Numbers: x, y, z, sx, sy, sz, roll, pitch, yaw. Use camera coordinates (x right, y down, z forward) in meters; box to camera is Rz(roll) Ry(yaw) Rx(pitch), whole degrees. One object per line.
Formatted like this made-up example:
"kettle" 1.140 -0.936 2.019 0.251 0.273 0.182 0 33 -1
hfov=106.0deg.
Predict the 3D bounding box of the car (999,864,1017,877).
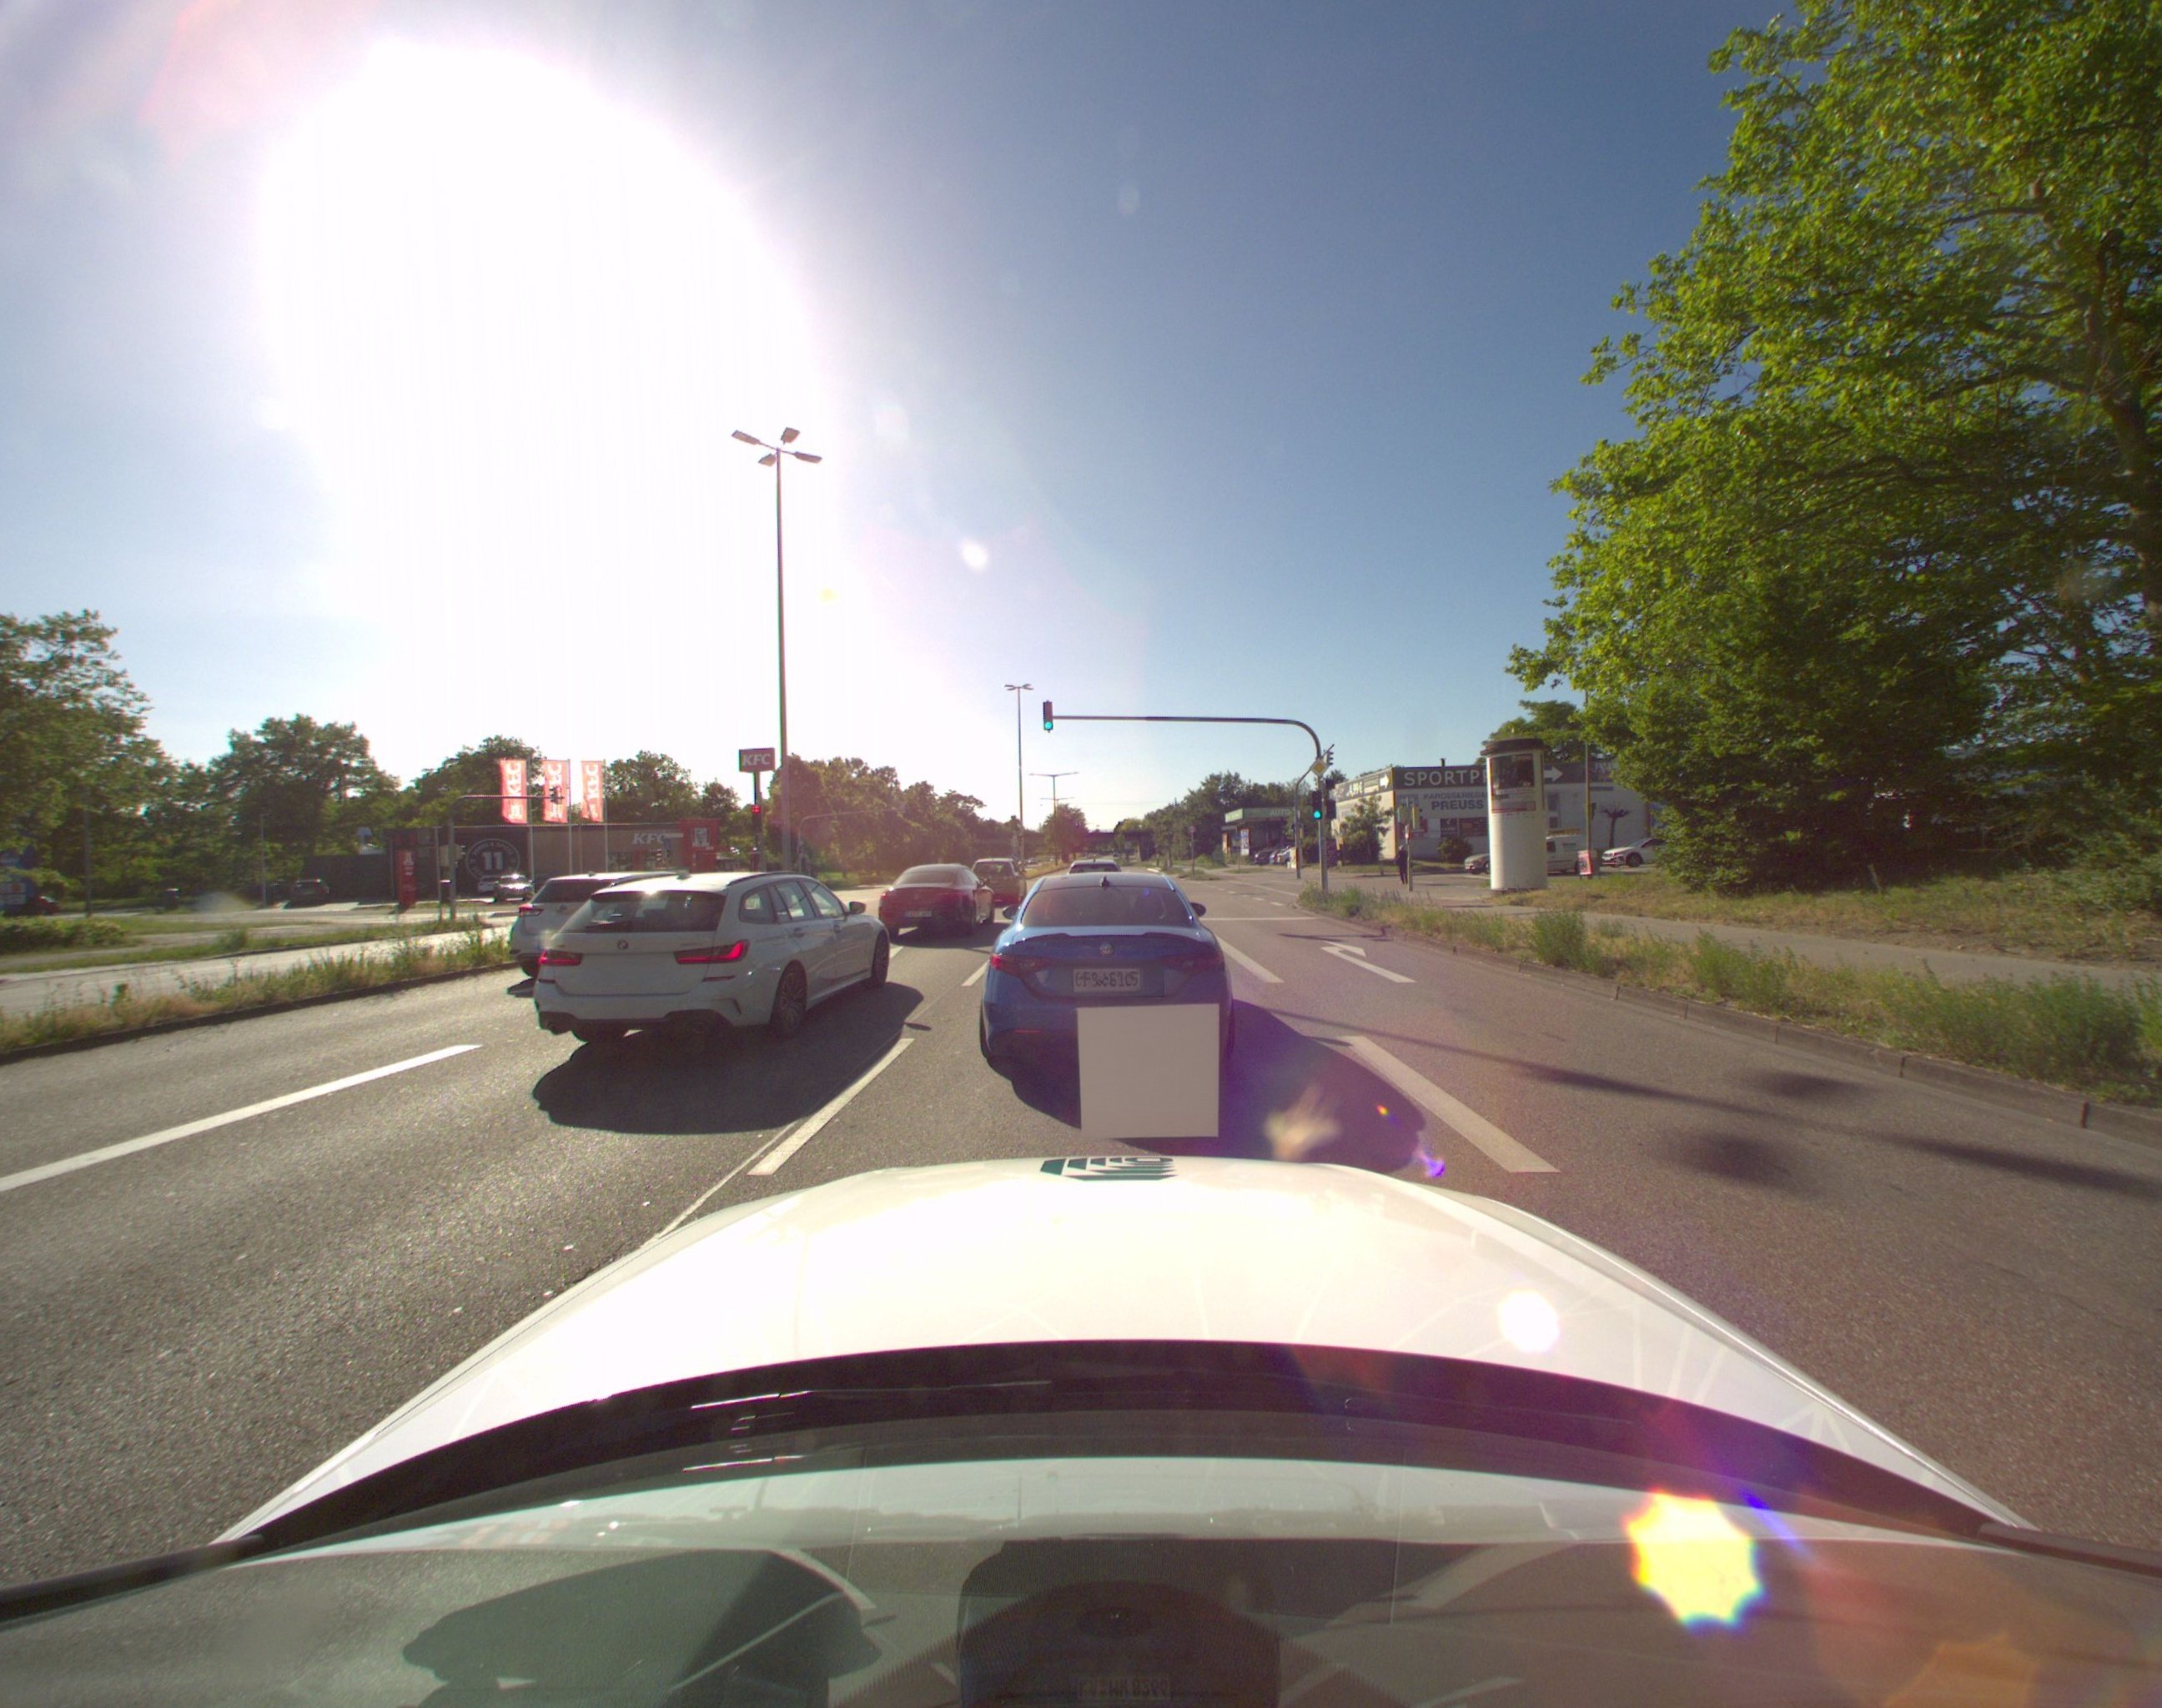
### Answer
"car" -9.190 2.083 103.089 1.752 1.490 3.838 -3 -1 2

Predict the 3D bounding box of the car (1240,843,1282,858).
"car" 21.115 -0.407 95.853 4.532 1.490 1.766 -3 -1 3

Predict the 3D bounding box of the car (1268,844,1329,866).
"car" 17.692 0.090 66.285 4.470 1.454 1.860 -3 -1 3

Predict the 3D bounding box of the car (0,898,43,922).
"car" -73.004 3.847 54.609 3.967 1.461 1.641 -2 0 -44

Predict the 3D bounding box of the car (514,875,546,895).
"car" -43.193 2.378 63.822 1.670 1.471 3.872 0 -1 -40

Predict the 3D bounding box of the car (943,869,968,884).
"car" -13.577 2.415 88.043 1.752 1.490 4.480 -3 -1 2

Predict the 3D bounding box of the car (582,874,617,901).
"car" -33.713 2.315 57.105 1.920 1.752 4.315 0 -1 -29

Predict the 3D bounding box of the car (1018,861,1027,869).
"car" -12.211 2.333 169.669 1.609 1.559 3.358 0 -1 2

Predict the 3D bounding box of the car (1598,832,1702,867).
"car" 29.024 -0.217 41.592 4.028 1.490 1.782 -3 -1 -1

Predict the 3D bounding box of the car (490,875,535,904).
"car" -37.382 2.294 53.625 2.005 1.765 4.315 0 -1 -29

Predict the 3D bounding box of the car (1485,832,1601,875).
"car" 21.595 -0.050 38.169 4.367 1.801 1.765 -3 1 0

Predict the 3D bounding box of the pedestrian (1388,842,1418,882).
"pedestrian" 14.094 0.367 35.654 0.922 1.735 0.939 0 -1 1

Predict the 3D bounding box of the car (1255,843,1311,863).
"car" 17.961 -0.065 72.516 4.470 1.454 1.860 -3 -1 3

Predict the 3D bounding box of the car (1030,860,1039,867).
"car" -10.831 2.148 189.597 1.603 1.647 3.464 0 -1 2

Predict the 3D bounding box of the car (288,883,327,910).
"car" -52.213 2.817 55.030 1.670 1.673 3.897 1 -1 -40

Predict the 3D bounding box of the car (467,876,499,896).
"car" -45.685 2.433 62.168 1.670 1.471 3.872 0 -1 -40

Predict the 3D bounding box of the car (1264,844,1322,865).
"car" 17.962 0.037 69.114 4.470 1.454 1.860 -3 -1 3

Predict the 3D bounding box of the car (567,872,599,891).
"car" -40.246 2.210 65.782 1.670 1.471 3.872 0 -1 -40

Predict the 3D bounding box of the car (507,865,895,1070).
"car" -3.296 0.865 8.198 1.779 1.490 4.403 0 -1 1

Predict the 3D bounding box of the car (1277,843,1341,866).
"car" 17.581 0.034 62.925 4.470 1.454 1.860 -3 -1 3

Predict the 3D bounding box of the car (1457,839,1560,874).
"car" 21.725 0.119 41.502 4.273 1.549 1.765 -3 1 0

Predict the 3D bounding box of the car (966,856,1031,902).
"car" -2.829 0.855 28.770 1.753 1.490 4.403 0 -1 1

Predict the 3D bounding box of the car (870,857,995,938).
"car" -3.006 0.846 17.443 1.790 1.490 4.476 0 -1 1

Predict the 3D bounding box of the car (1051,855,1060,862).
"car" -6.450 1.167 206.289 1.752 1.490 4.480 -3 -1 2

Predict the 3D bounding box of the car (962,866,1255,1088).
"car" 0.212 0.826 7.474 1.889 1.418 4.403 0 -1 1

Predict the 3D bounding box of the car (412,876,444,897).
"car" -47.824 2.375 59.624 1.670 1.471 3.872 0 -1 -40

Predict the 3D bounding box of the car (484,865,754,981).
"car" -6.847 0.929 12.683 1.753 1.490 4.197 0 -1 1

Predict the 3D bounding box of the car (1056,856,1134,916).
"car" 0.364 0.794 21.520 1.844 1.418 4.403 0 -1 1
